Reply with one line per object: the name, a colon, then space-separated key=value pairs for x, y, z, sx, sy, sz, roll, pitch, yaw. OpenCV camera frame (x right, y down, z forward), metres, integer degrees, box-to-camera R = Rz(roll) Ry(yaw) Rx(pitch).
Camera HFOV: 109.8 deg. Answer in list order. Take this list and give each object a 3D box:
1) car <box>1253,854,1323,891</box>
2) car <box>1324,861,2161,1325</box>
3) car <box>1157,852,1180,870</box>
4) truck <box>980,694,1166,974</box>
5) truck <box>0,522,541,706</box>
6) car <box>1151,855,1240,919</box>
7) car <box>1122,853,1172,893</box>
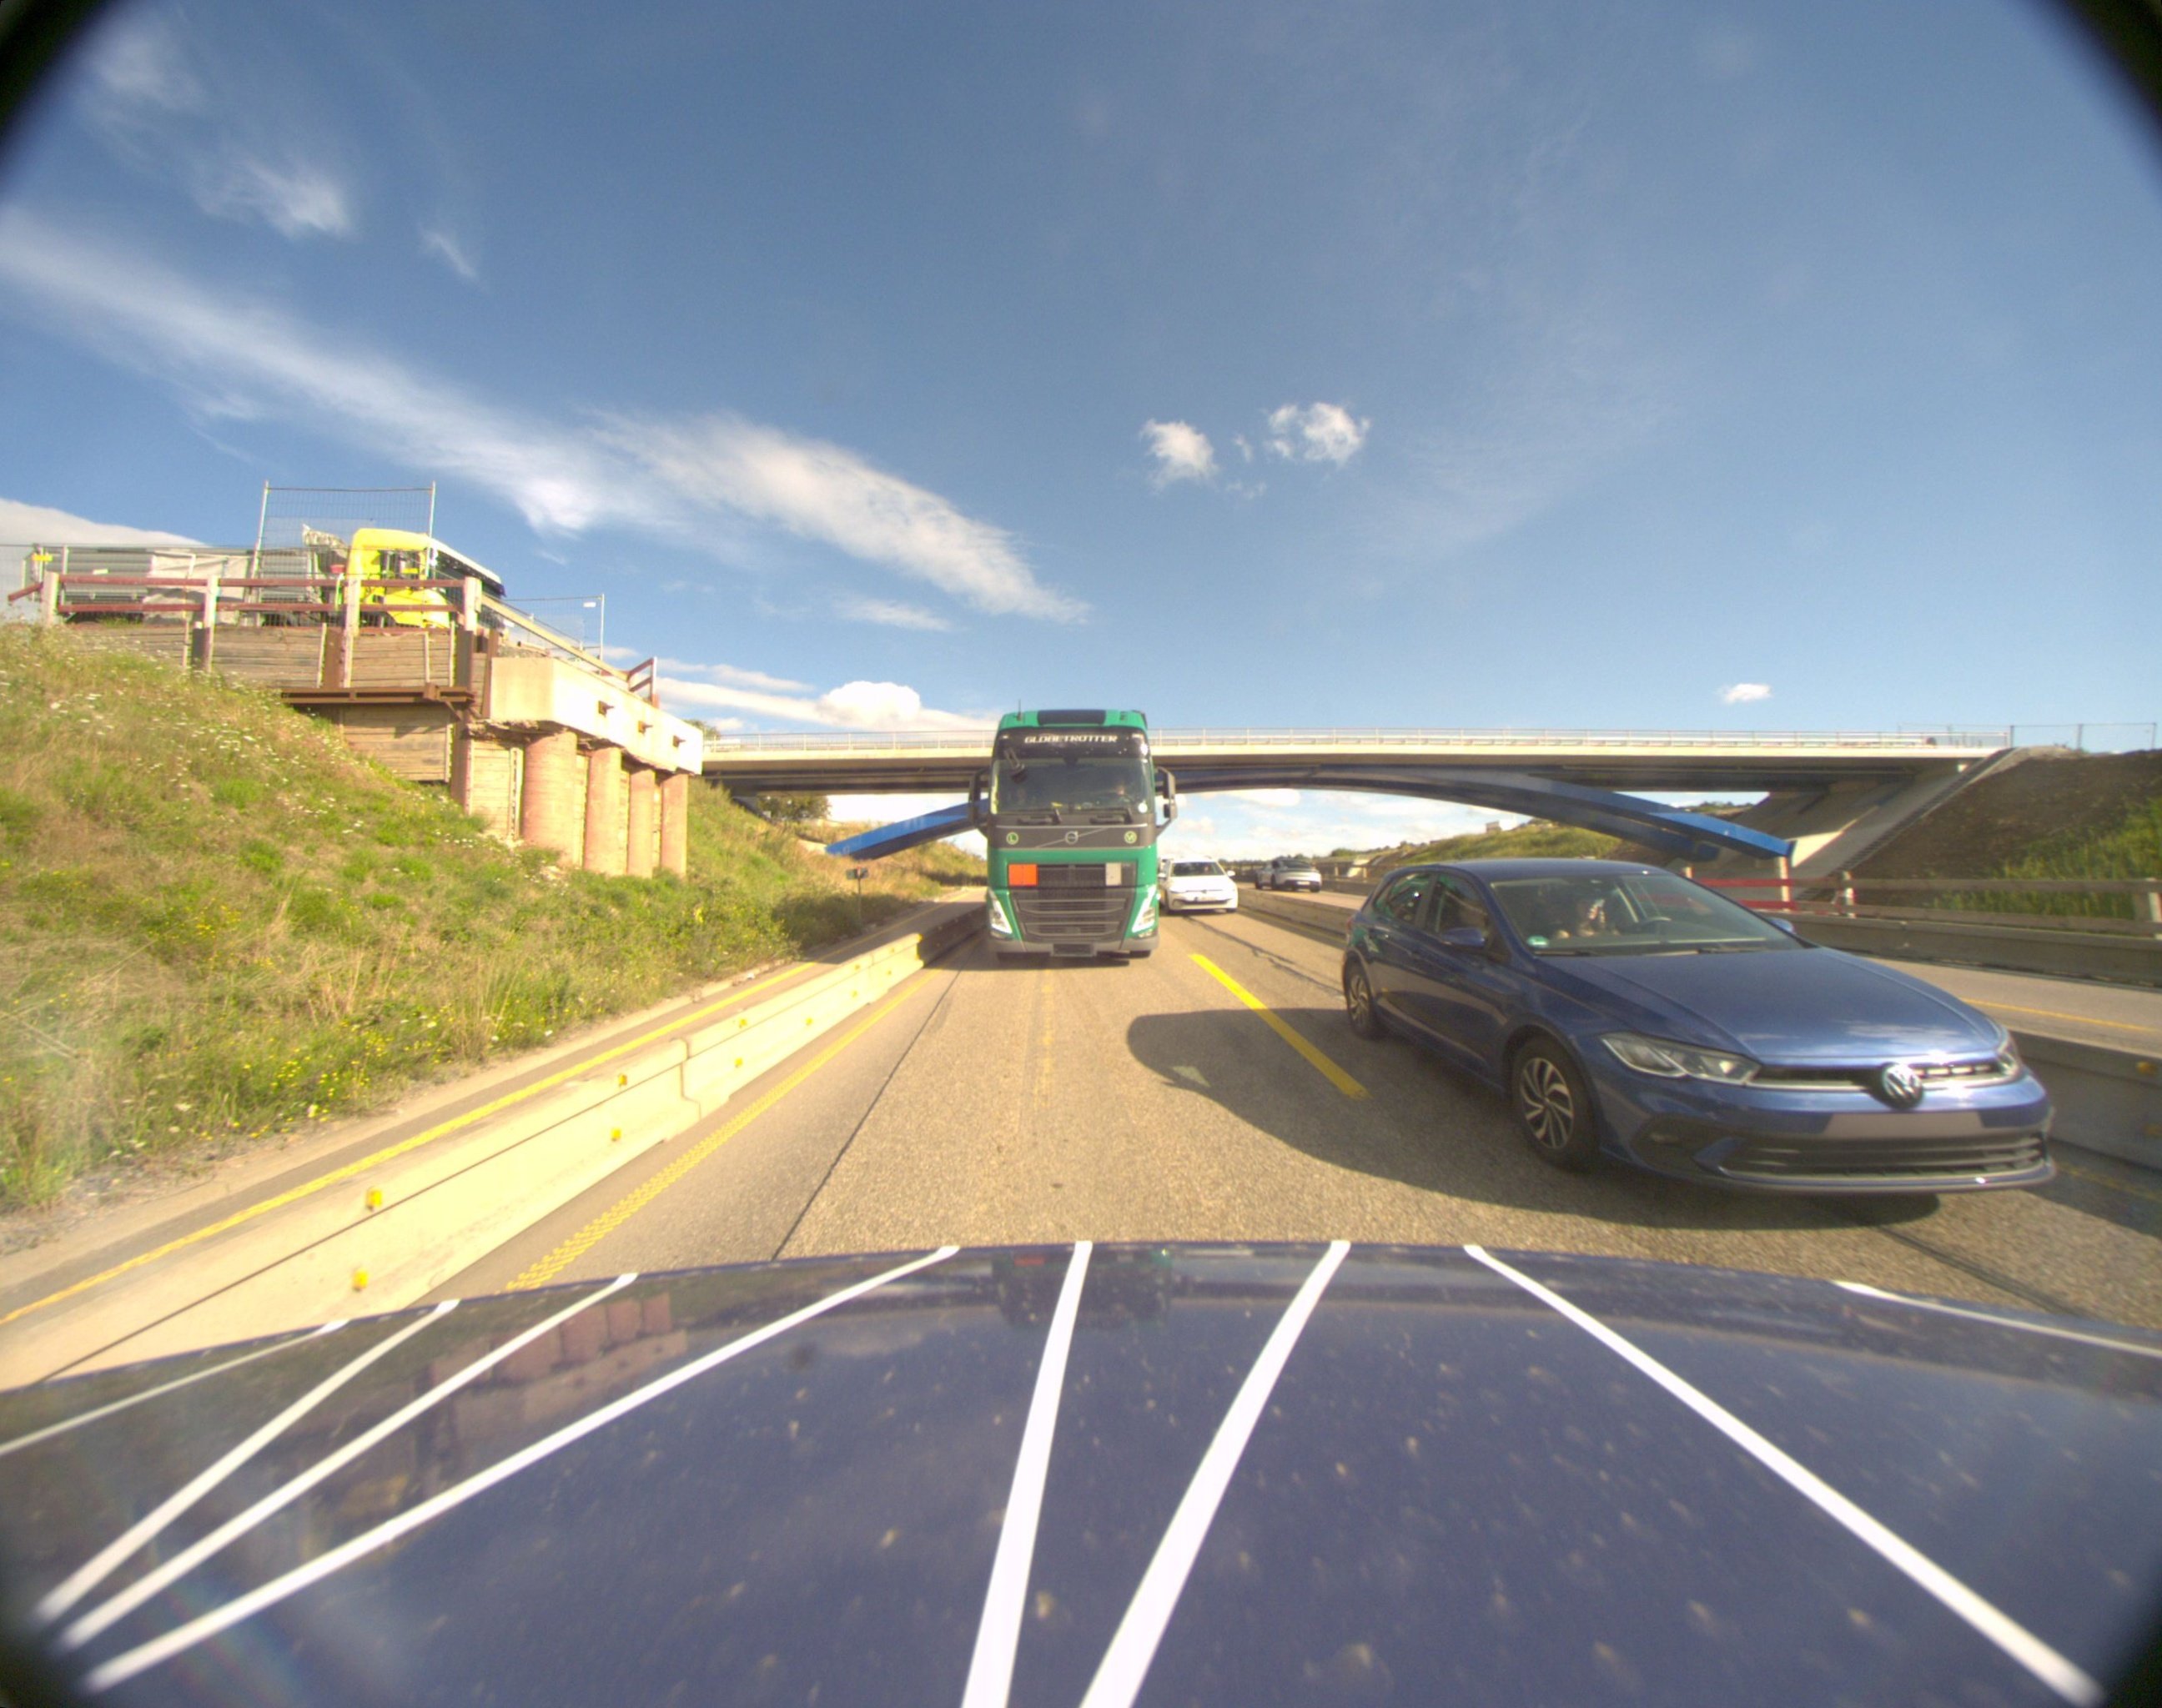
car: x=8.995 y=0.757 z=33.428 sx=1.738 sy=1.417 sz=4.627 roll=1 pitch=0 yaw=-1
car: x=2.956 y=0.843 z=4.600 sx=1.719 sy=1.499 sz=4.000 roll=-2 pitch=0 yaw=1
car: x=8.650 y=0.718 z=75.422 sx=1.738 sy=1.649 sz=4.217 roll=1 pitch=0 yaw=-1
truck: x=-0.091 y=-0.278 z=14.866 sx=2.546 sy=3.899 sz=8.279 roll=-1 pitch=0 yaw=0
truck: x=-18.385 y=-5.427 z=17.694 sx=9.288 sy=3.209 sz=2.959 roll=-1 pitch=0 yaw=-2
car: x=2.991 y=0.798 z=20.683 sx=1.825 sy=1.487 sz=4.374 roll=-2 pitch=0 yaw=1
car: x=2.951 y=0.802 z=34.795 sx=1.855 sy=1.667 sz=4.259 roll=-2 pitch=0 yaw=0
